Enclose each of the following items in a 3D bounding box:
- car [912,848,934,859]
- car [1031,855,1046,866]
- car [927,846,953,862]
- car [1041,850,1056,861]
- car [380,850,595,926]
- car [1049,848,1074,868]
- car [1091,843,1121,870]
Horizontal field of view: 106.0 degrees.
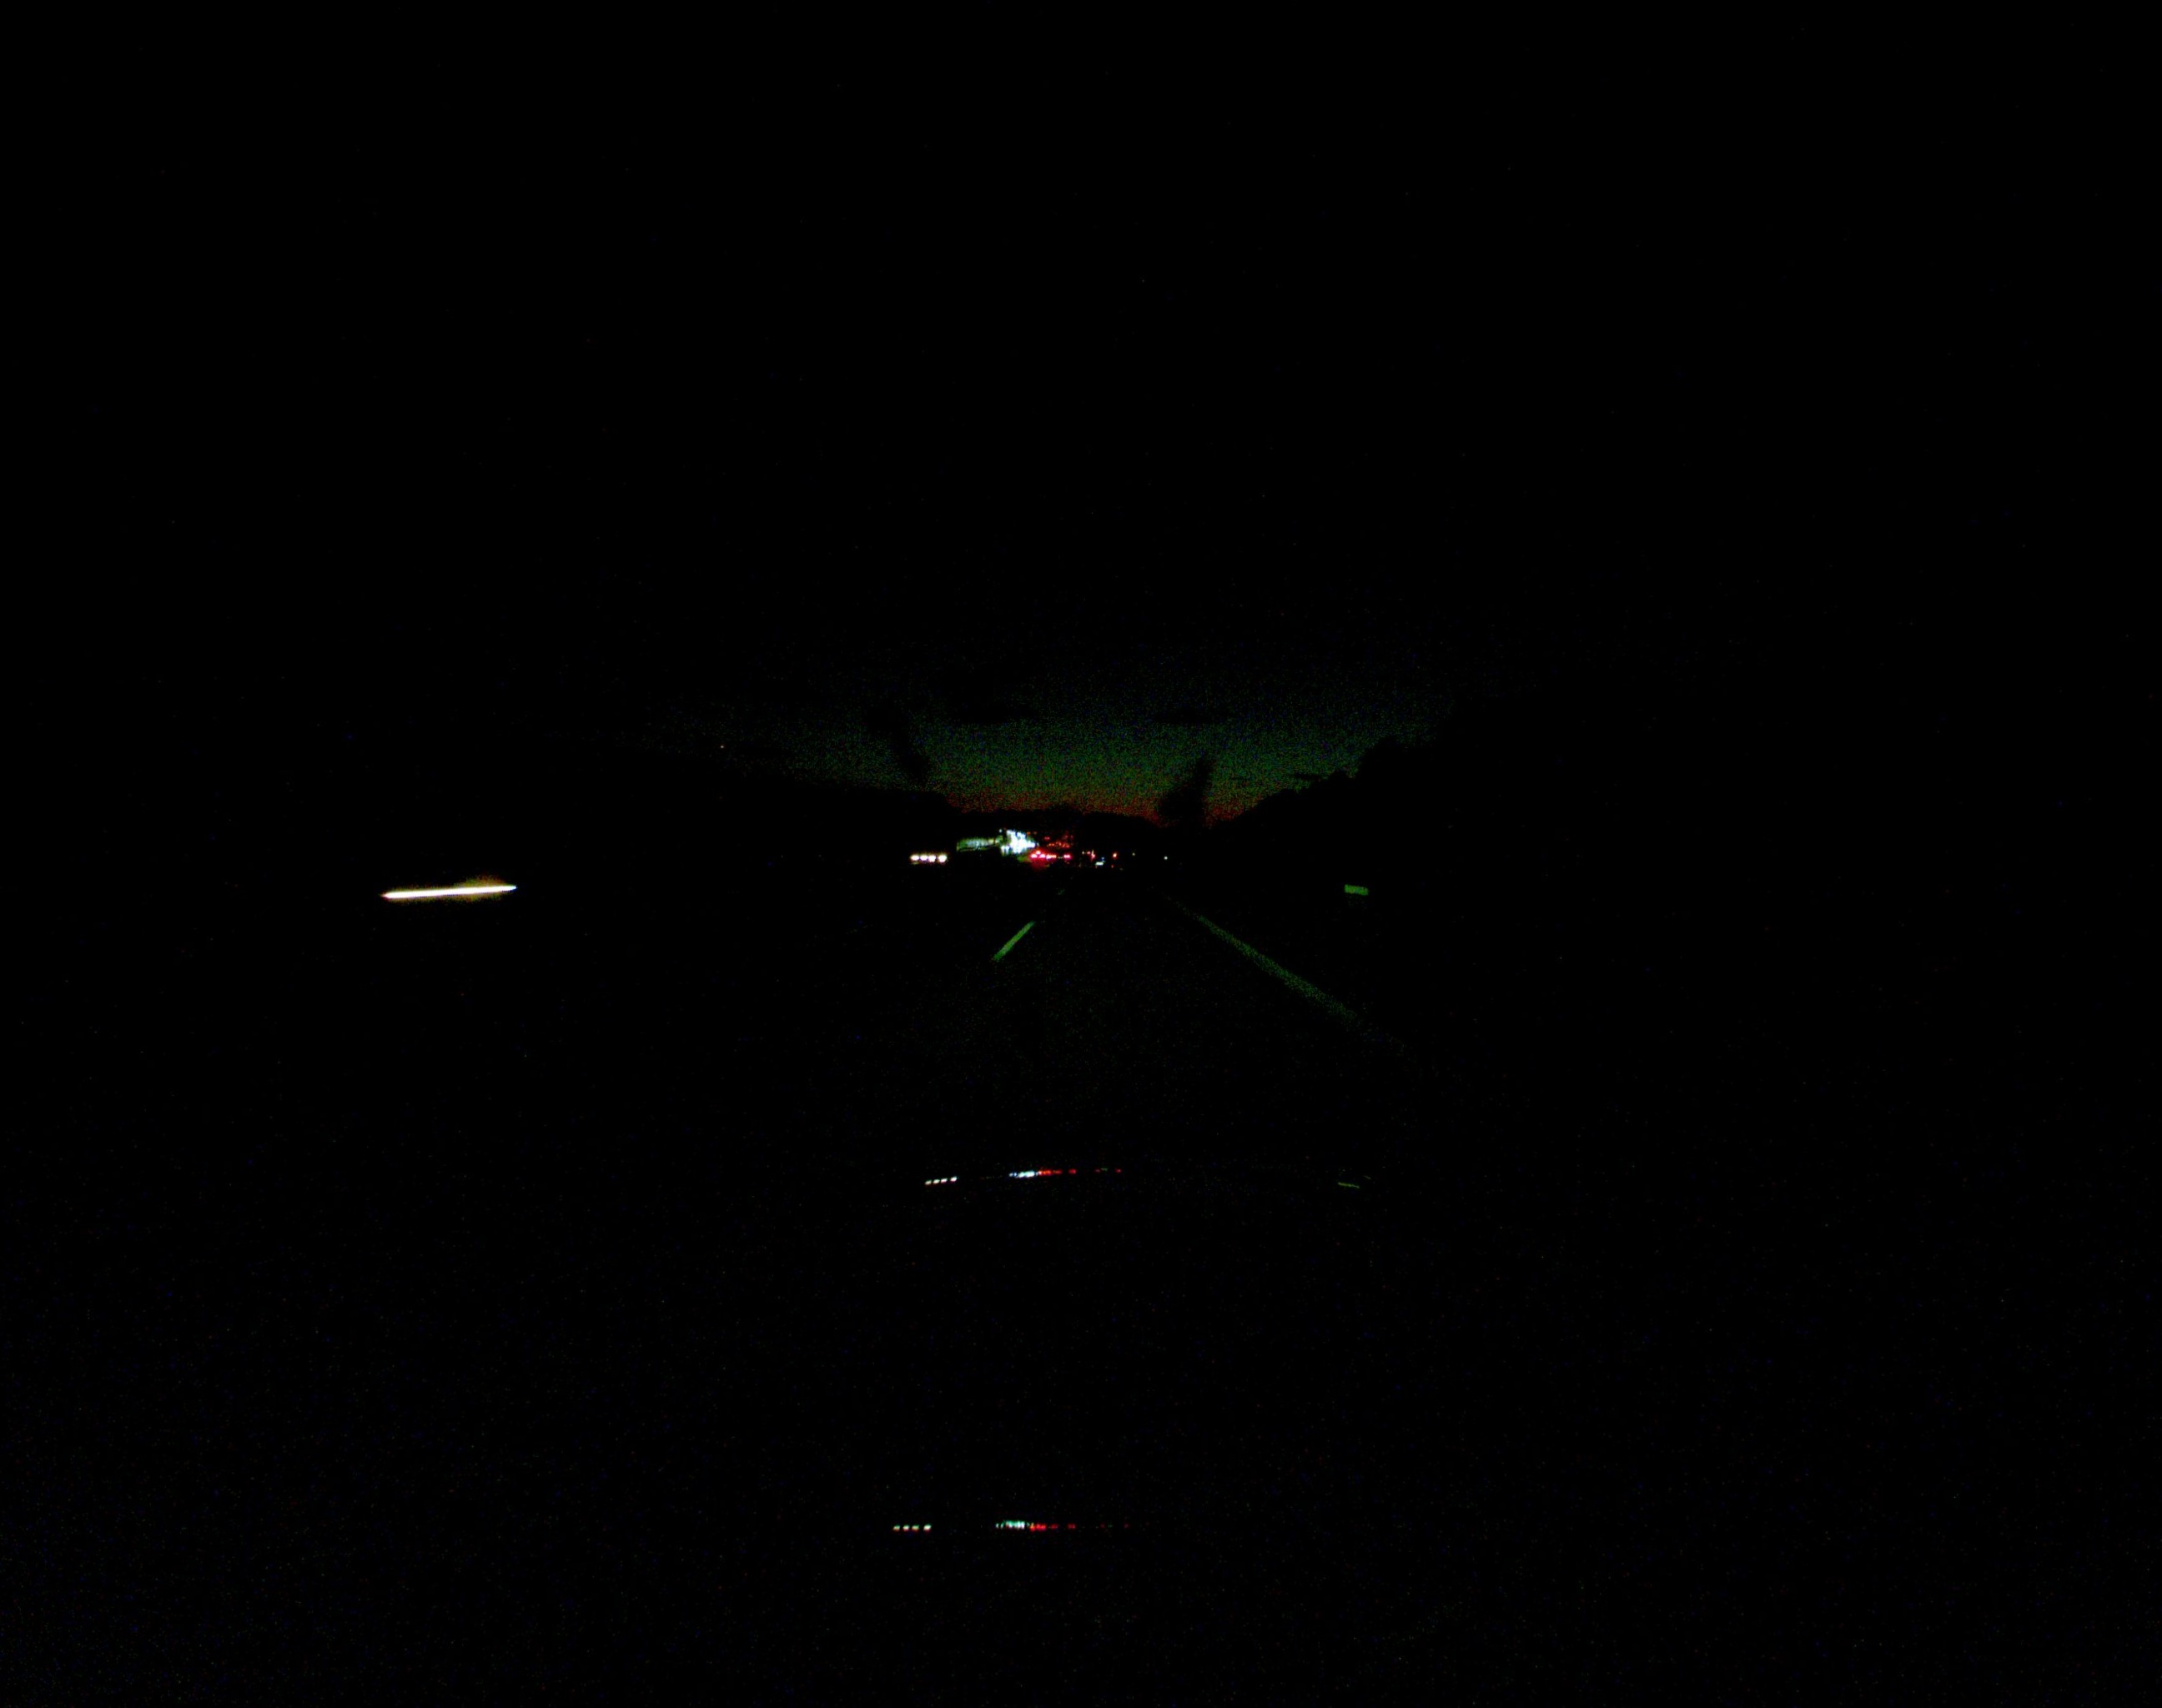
[{"bbox_3d":[-21.137,-0.027,109.097,1.767,1.429,4.661,0,0,2],"label":"car"},{"bbox_3d":[-5.634,0.882,107.721,1.544,1.431,5.514,-1,0,1],"label":"car"},{"bbox_3d":[-16.956,-0.019,98.146,2.096,1.885,4.661,0,0,2],"label":"car"},{"bbox_3d":[-4.772,0.236,121.091,1.773,1.486,5.256,-2,1,2],"label":"car"},{"bbox_3d":[-14.887,0.770,20.859,1.986,1.734,4.661,0,0,2],"label":"car"},{"bbox_3d":[-1.791,0.346,75.035,1.986,1.721,5.943,-1,0,1],"label":"car"},{"bbox_3d":[1.941,0.179,64.050,2.189,1.955,4.763,-1,1,0],"label":"car"}]
